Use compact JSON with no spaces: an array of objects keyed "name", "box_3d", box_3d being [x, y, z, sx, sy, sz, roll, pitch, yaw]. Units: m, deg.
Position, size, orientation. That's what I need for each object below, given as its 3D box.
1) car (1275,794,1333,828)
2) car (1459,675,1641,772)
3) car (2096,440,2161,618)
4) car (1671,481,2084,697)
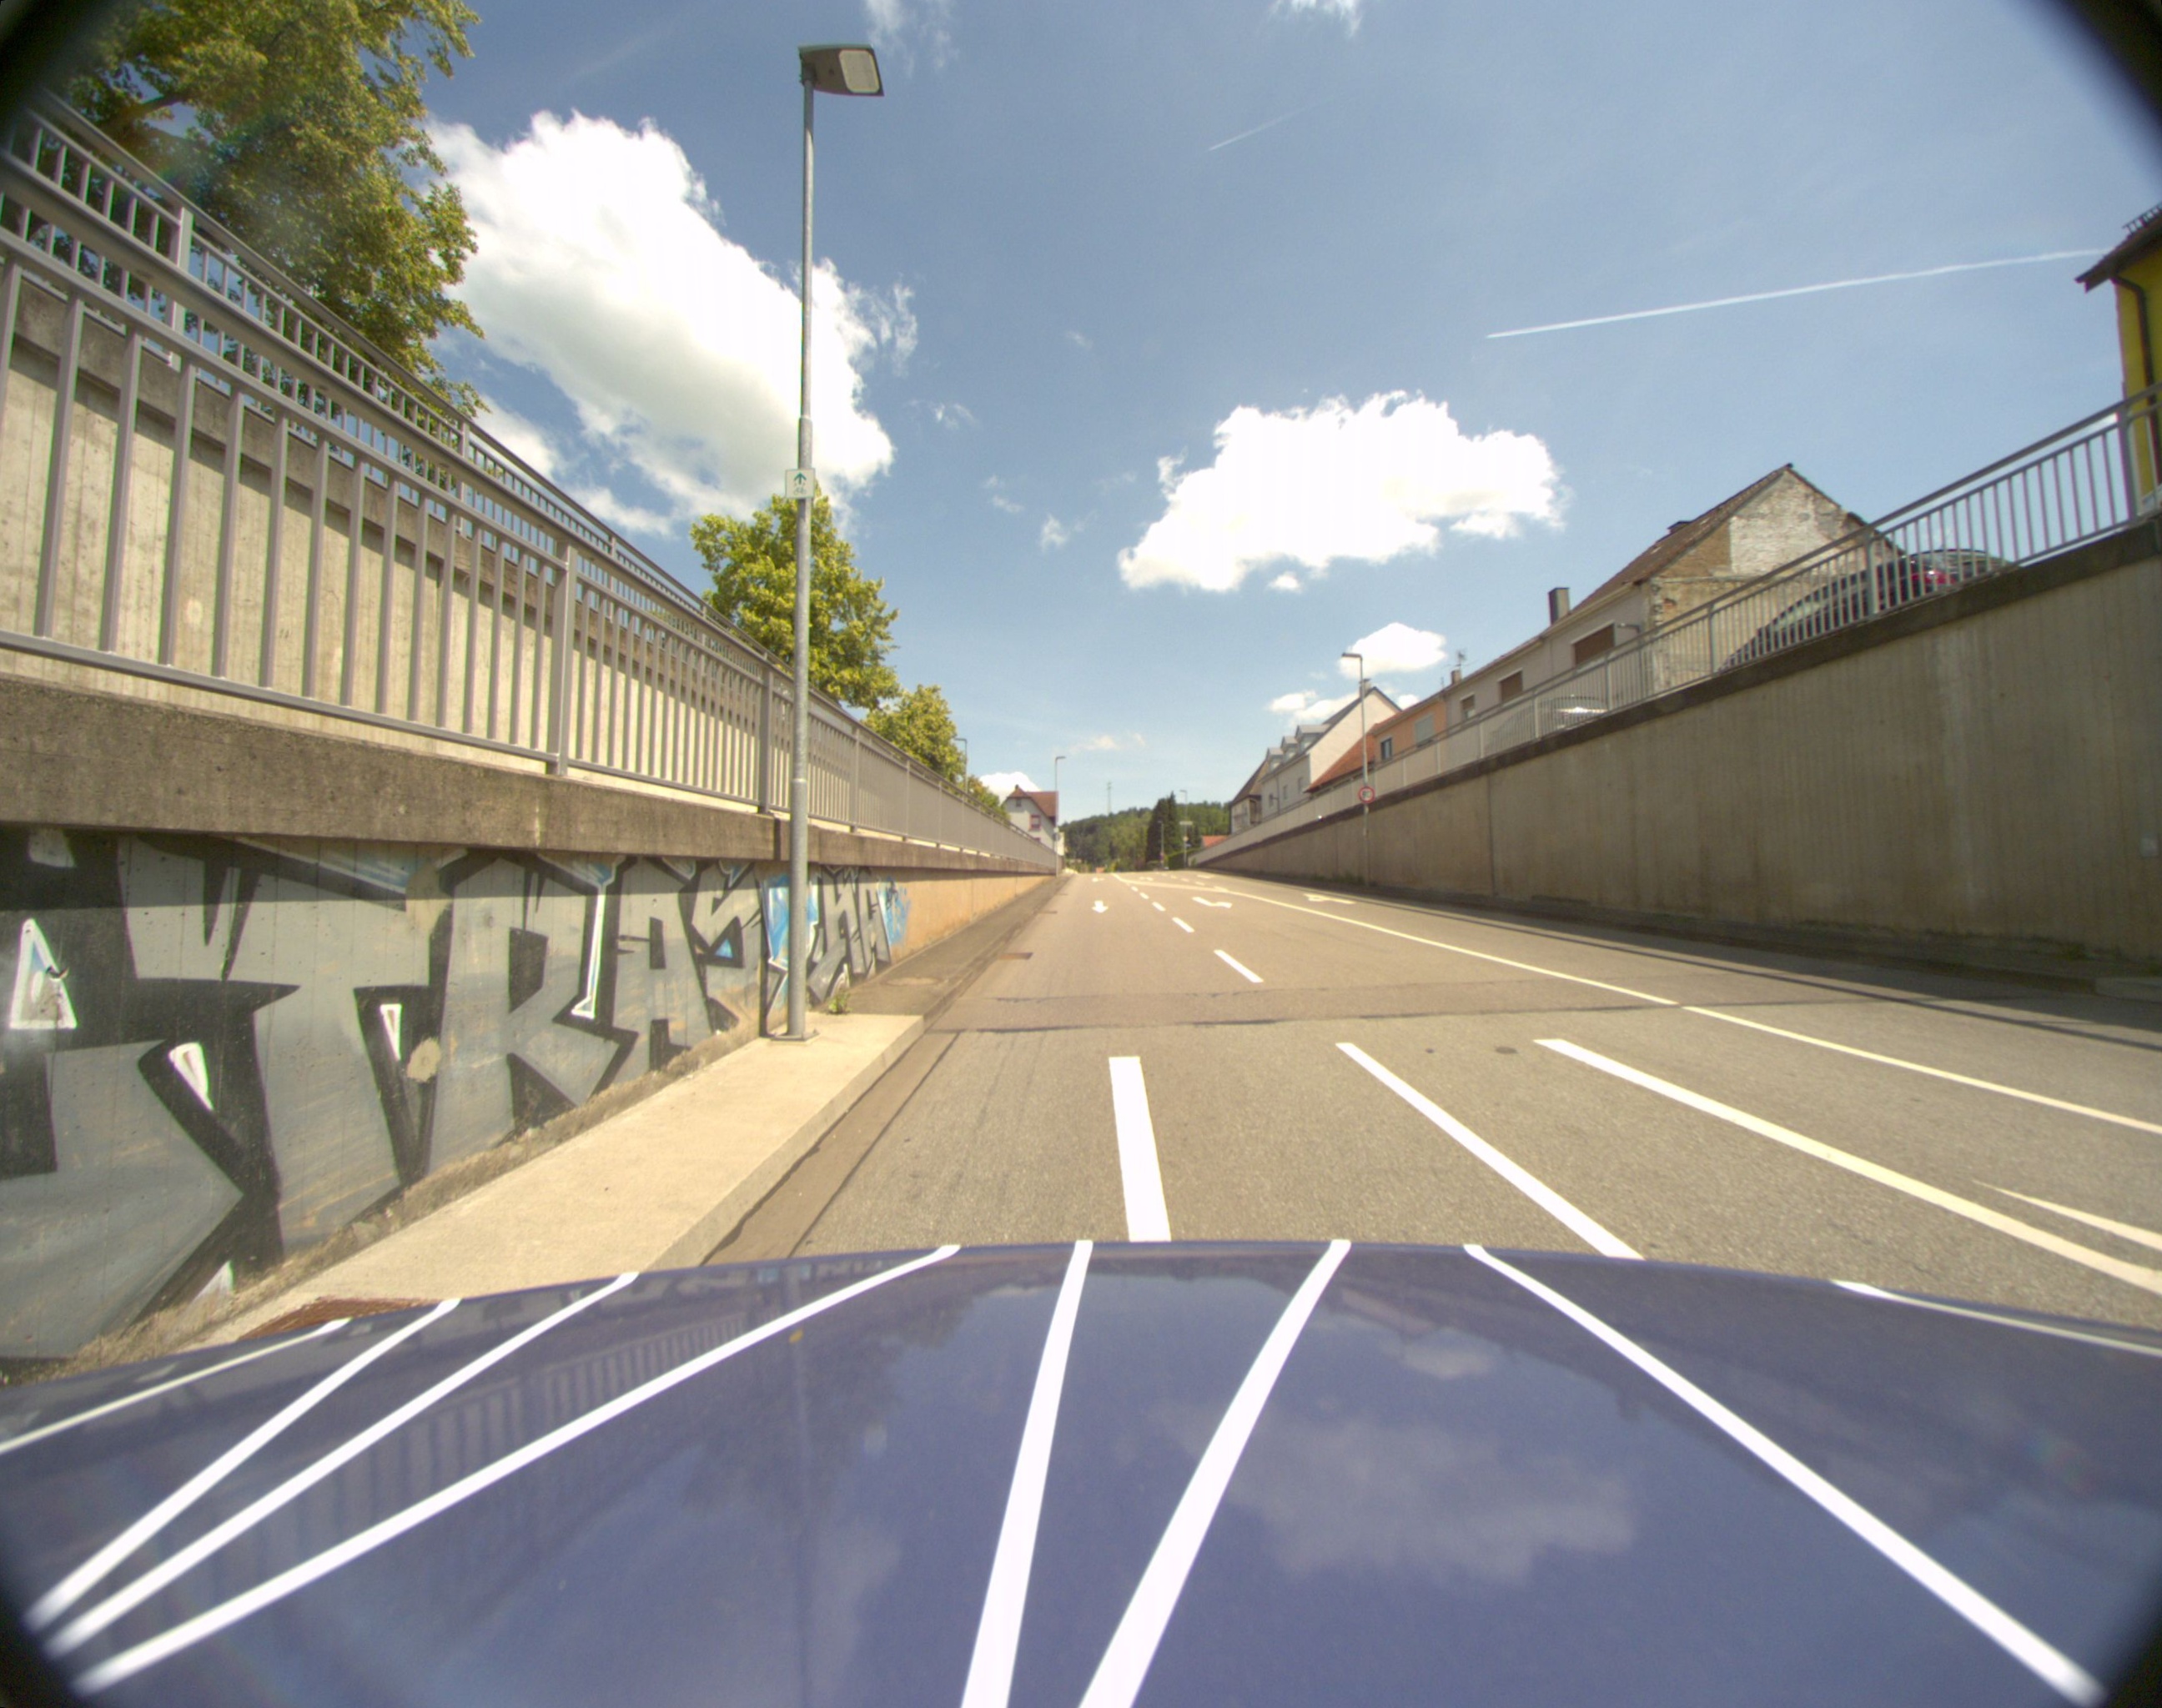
[{"name":"car","box_3d":[12.133,-2.294,41.642,1.790,1.396,4.394,-1,-2,-1]},{"name":"car","box_3d":[11.629,-3.179,19.282,1.803,1.515,4.394,-1,-2,-1]},{"name":"car","box_3d":[12.041,-3.482,6.260,1.907,1.657,4.001,-1,-2,-1]},{"name":"car","box_3d":[11.717,-3.795,11.723,1.827,1.695,4.223,-1,-2,-1]}]
